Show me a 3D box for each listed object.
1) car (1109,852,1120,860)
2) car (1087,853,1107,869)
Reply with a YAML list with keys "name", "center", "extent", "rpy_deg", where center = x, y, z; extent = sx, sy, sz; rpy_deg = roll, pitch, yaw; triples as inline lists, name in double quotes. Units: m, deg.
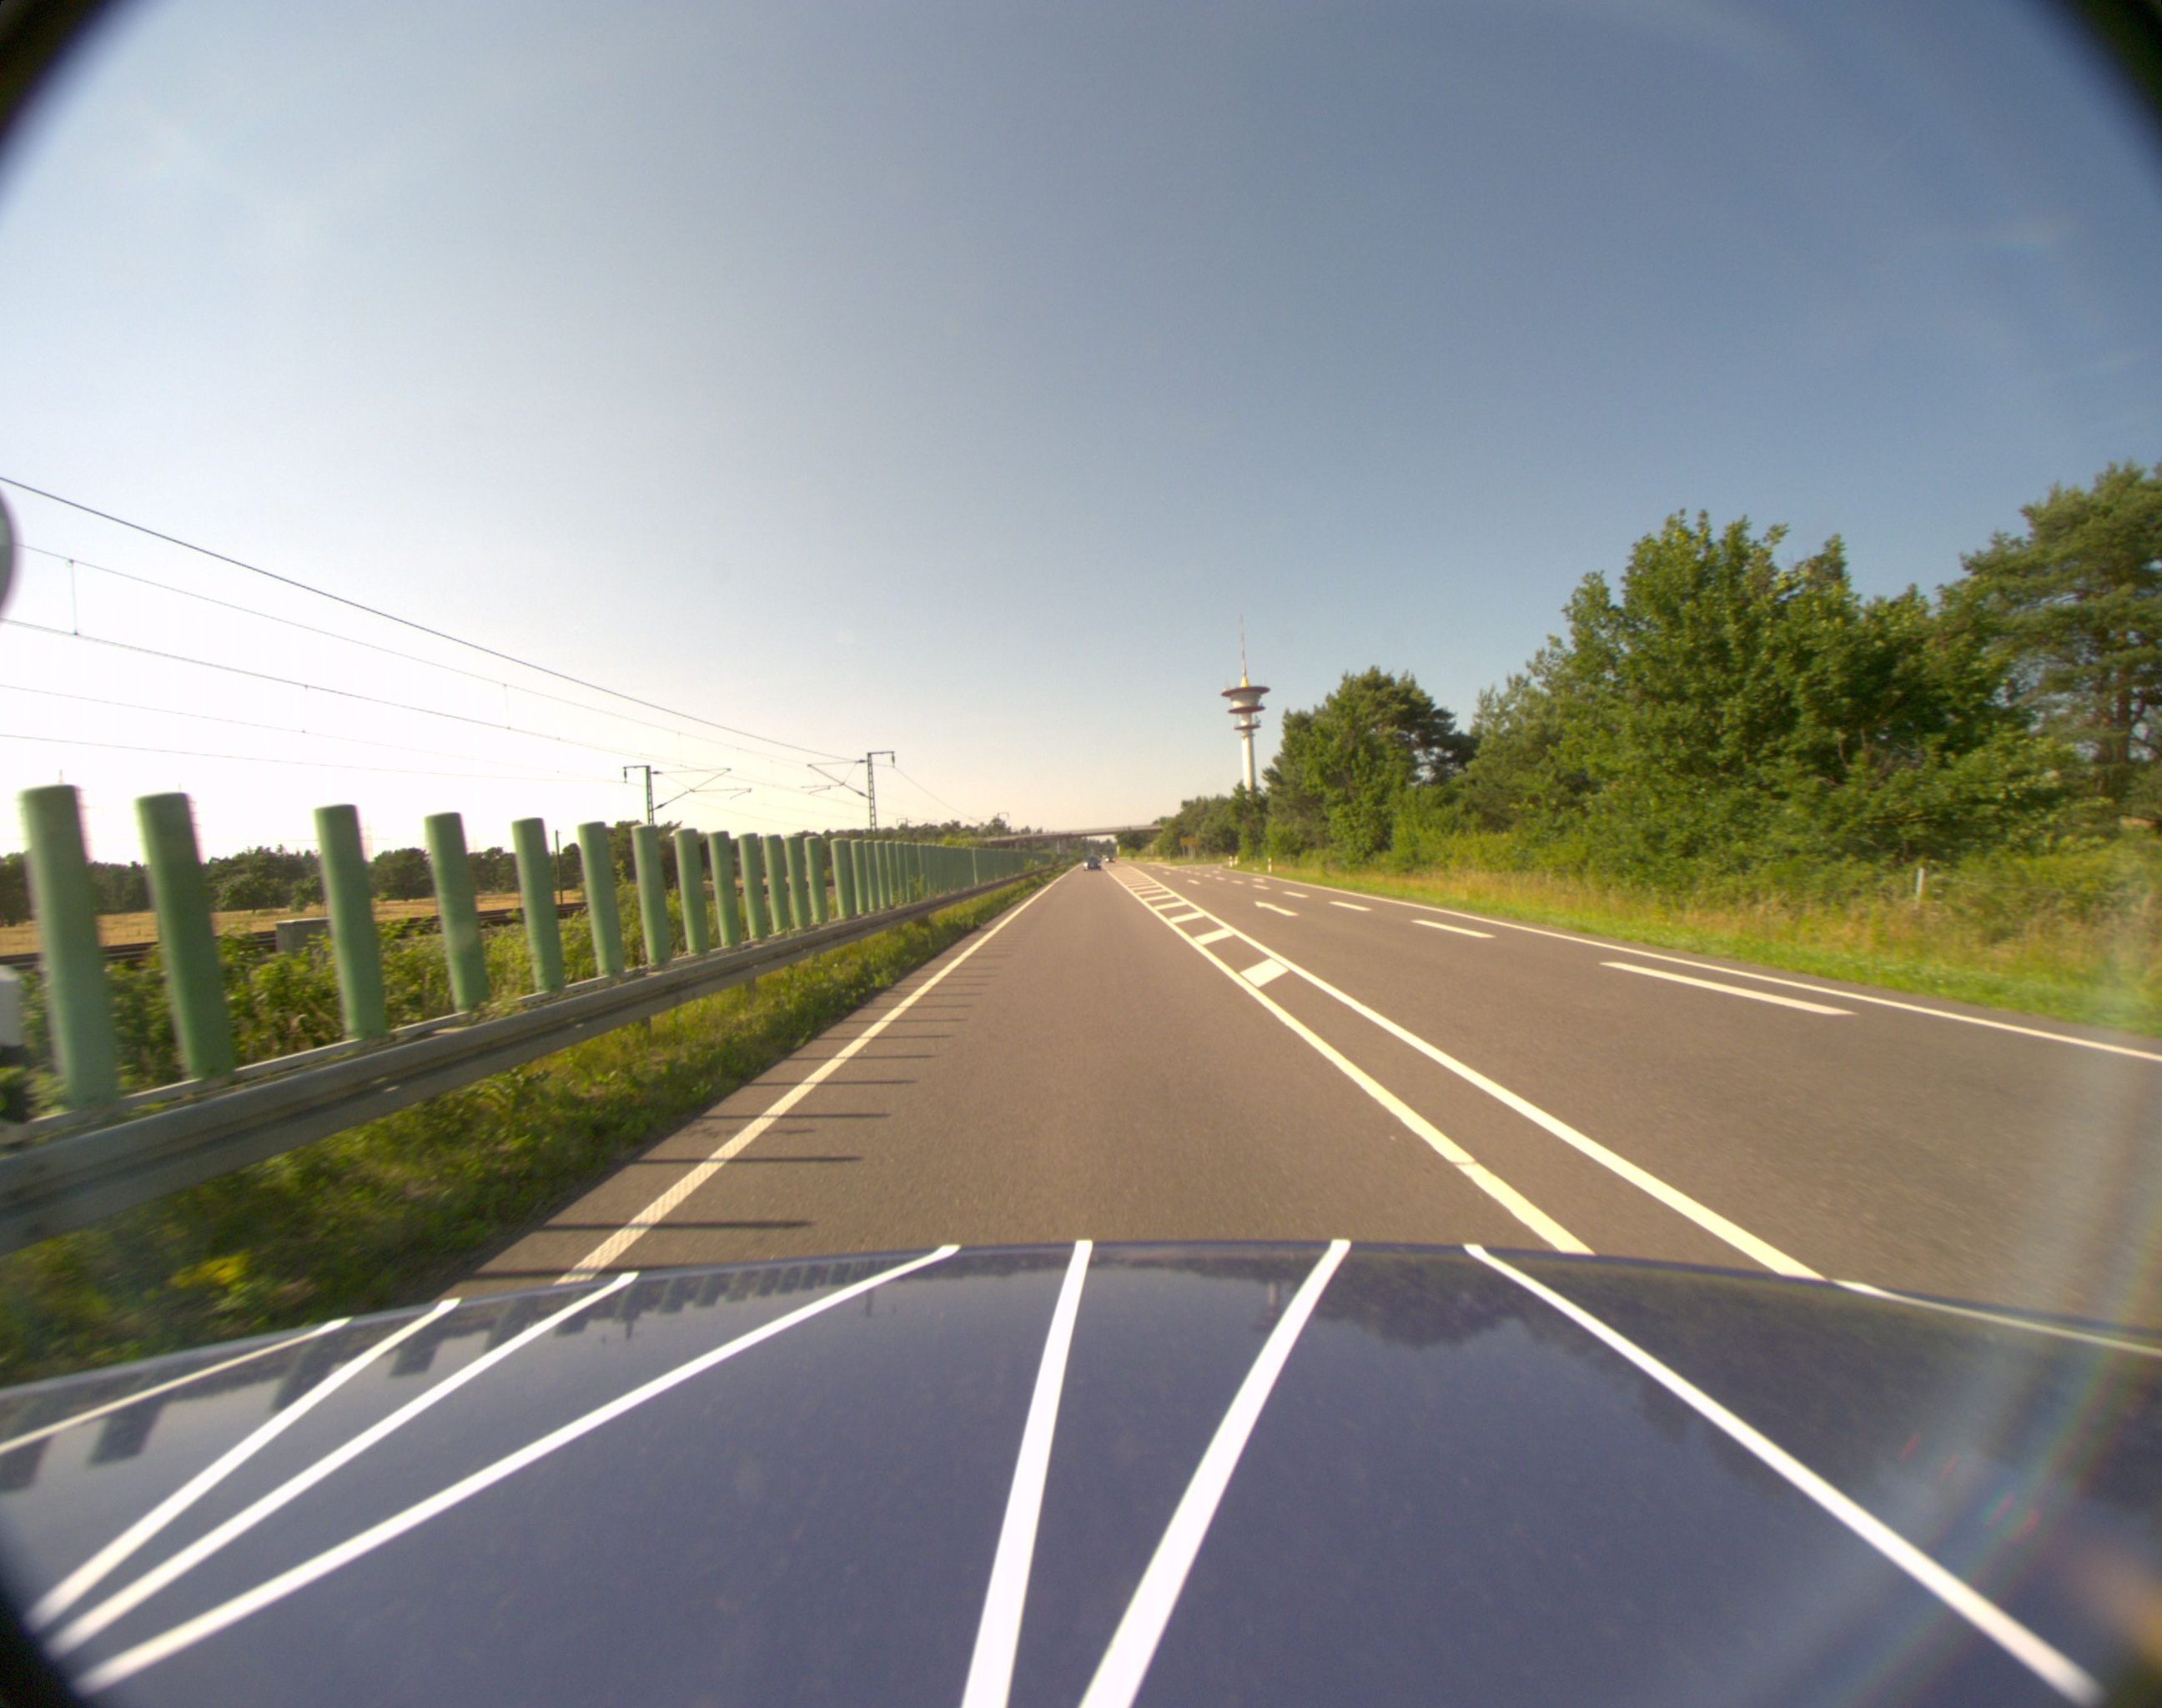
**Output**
- name: "car"
  center: [6.572, 0.416, 148.880]
  extent: [1.998, 1.533, 4.332]
  rpy_deg: [-1, 0, 2]
- name: "car"
  center: [1.664, 0.737, 77.355]
  extent: [1.868, 1.533, 4.076]
  rpy_deg: [-1, 0, 2]
